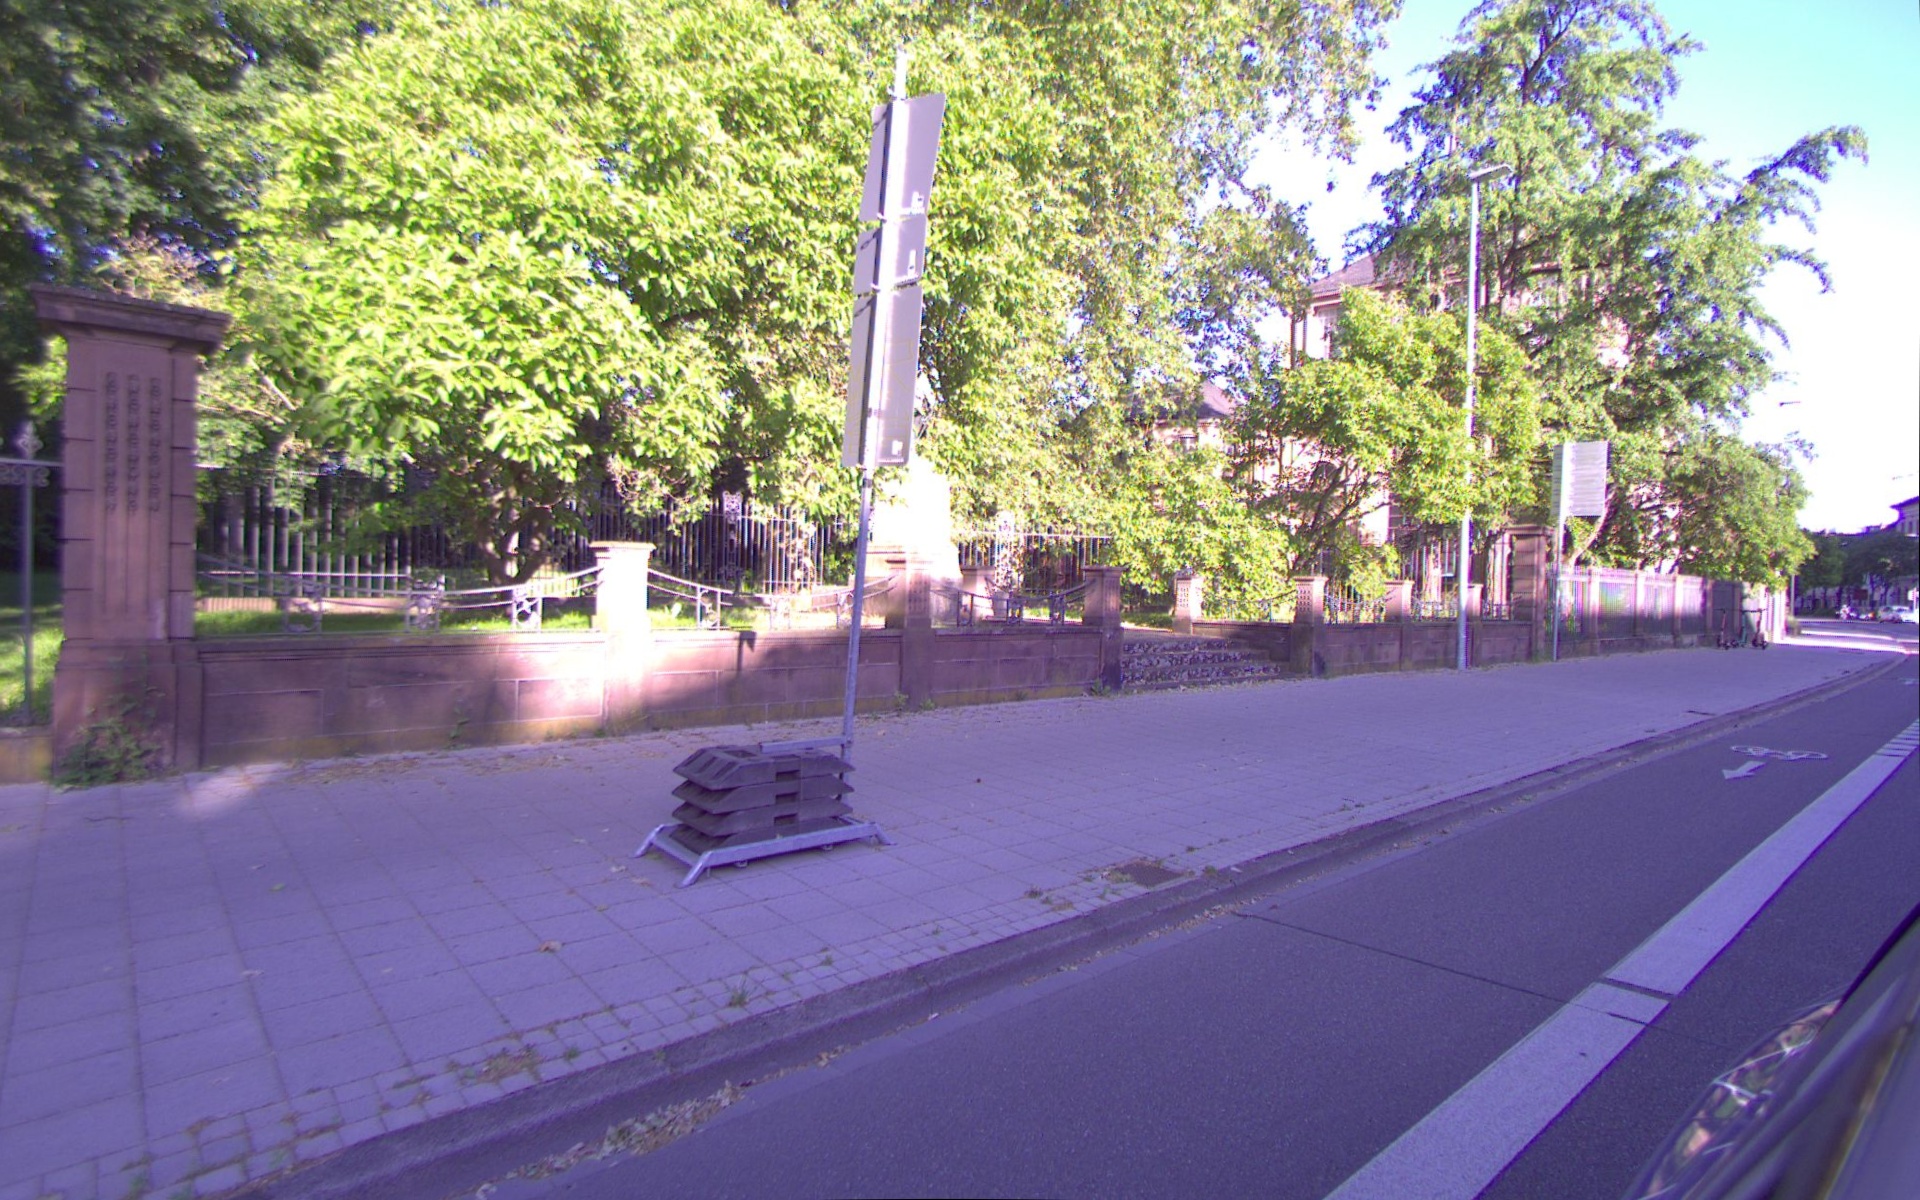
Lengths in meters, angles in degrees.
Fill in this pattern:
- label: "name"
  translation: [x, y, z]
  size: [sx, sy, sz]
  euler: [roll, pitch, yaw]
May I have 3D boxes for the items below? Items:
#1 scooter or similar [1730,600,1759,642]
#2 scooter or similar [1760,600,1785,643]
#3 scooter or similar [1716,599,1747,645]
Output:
- label: "scooter or similar"
  translation: [23.609, 0.628, 30.441]
  size: [0.574, 1.199, 1.465]
  euler: [3, 2, 41]
- label: "scooter or similar"
  translation: [24.709, 0.639, 30.790]
  size: [0.514, 1.255, 1.502]
  euler: [2, 2, 37]
- label: "scooter or similar"
  translation: [22.262, 0.611, 29.217]
  size: [0.572, 1.269, 1.470]
  euler: [2, 2, 33]
